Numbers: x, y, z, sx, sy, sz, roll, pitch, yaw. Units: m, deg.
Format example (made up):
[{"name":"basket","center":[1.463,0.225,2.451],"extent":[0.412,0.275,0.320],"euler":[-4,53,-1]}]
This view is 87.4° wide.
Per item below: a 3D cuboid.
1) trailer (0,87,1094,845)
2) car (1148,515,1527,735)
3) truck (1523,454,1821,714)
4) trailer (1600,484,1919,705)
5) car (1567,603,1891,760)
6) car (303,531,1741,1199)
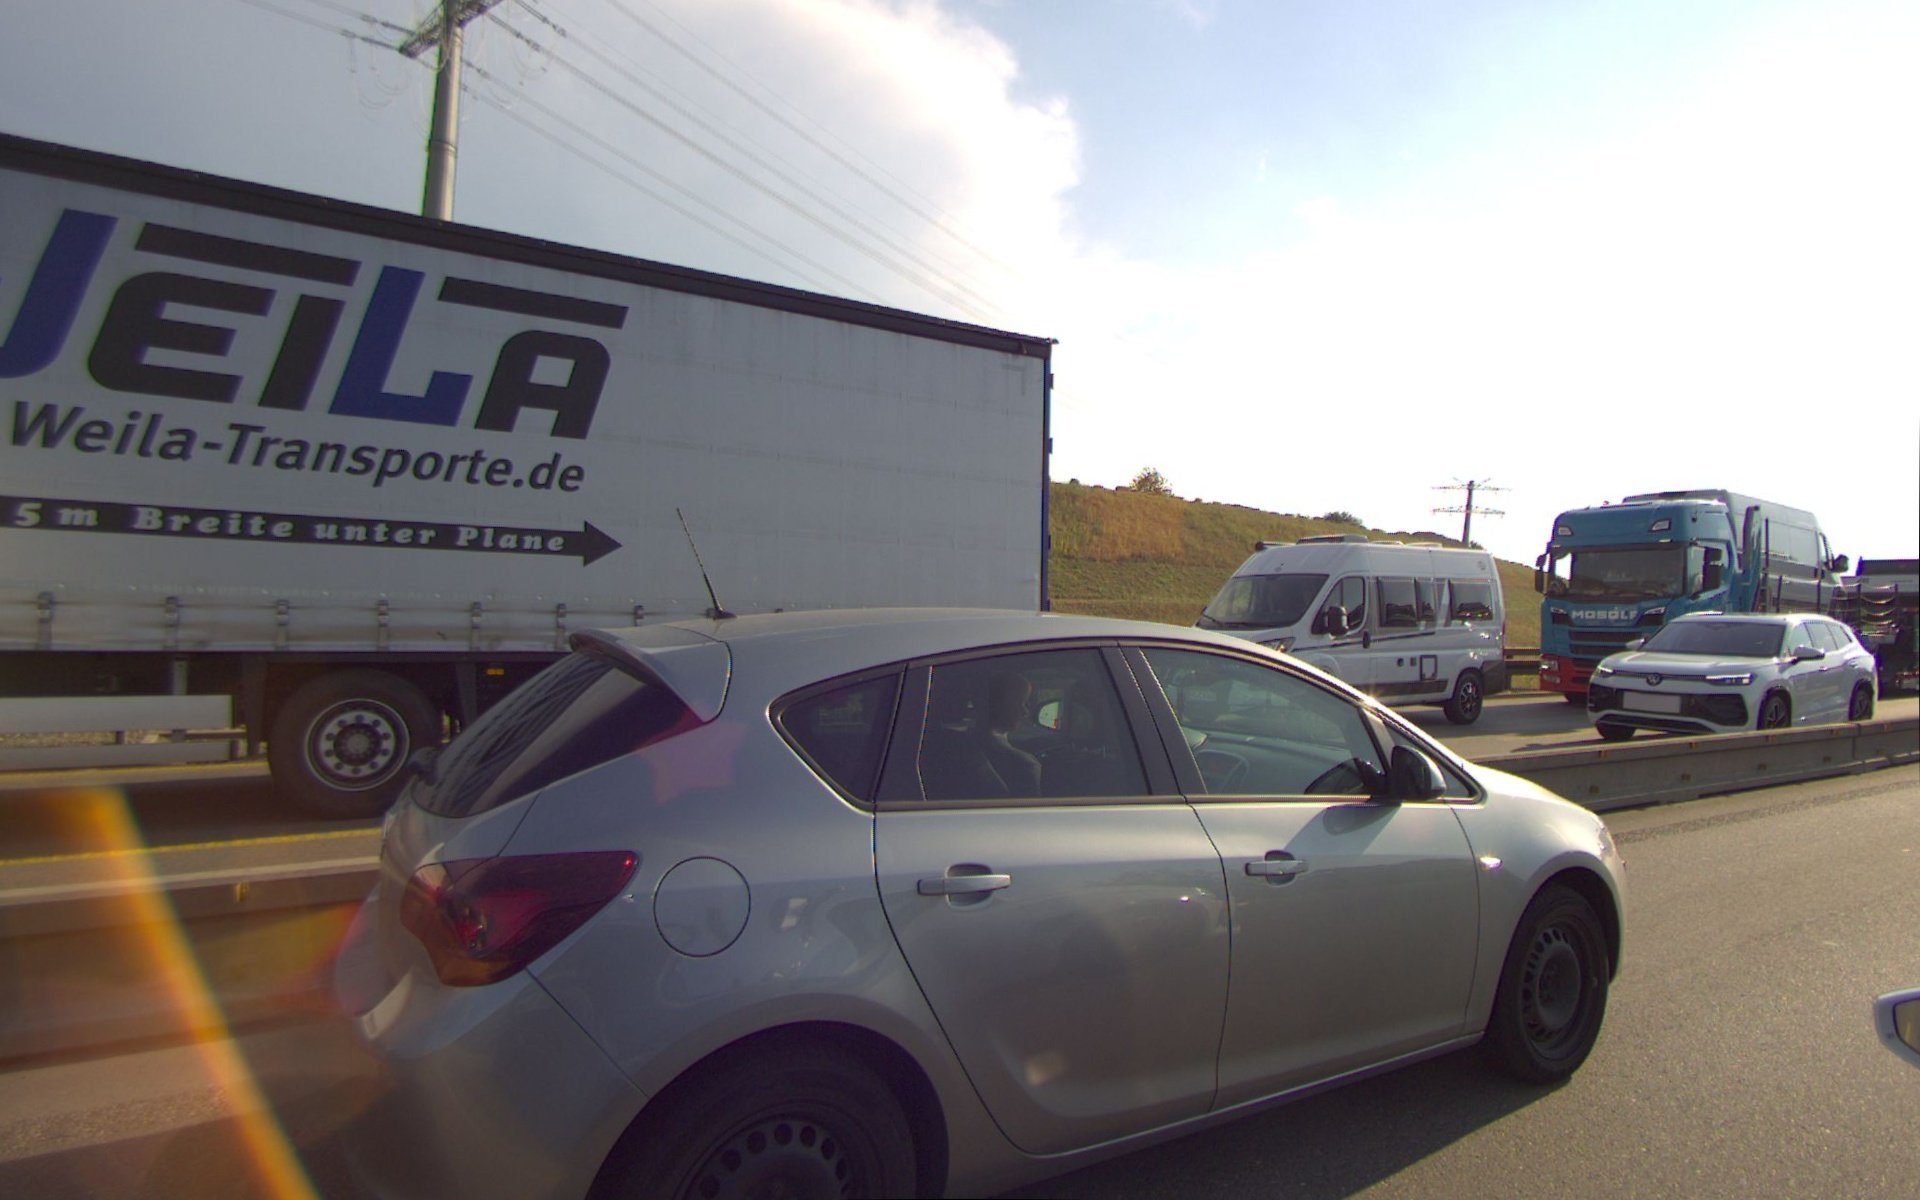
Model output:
[{"name":"trailer","center":[-5.499,-0.725,6.778],"extent":[14.434,4.185,2.295],"euler":[2,-1,-31]},{"name":"car","center":[5.474,0.368,14.258],"extent":[5.528,2.591,2.145],"euler":[2,-1,-33]},{"name":"truck","center":[13.238,-0.179,18.560],"extent":[5.820,4.119,2.489],"euler":[2,-1,-33]},{"name":"trailer","center":[19.947,0.099,23.175],"extent":[15.225,3.924,2.679],"euler":[2,-1,-33]},{"name":"car","center":[10.014,0.950,12.996],"extent":[4.545,1.717,1.860],"euler":[2,-1,-32]},{"name":"car","center":[0.508,0.709,3.259],"extent":[4.302,1.492,1.747],"euler":[2,-1,-31]}]
